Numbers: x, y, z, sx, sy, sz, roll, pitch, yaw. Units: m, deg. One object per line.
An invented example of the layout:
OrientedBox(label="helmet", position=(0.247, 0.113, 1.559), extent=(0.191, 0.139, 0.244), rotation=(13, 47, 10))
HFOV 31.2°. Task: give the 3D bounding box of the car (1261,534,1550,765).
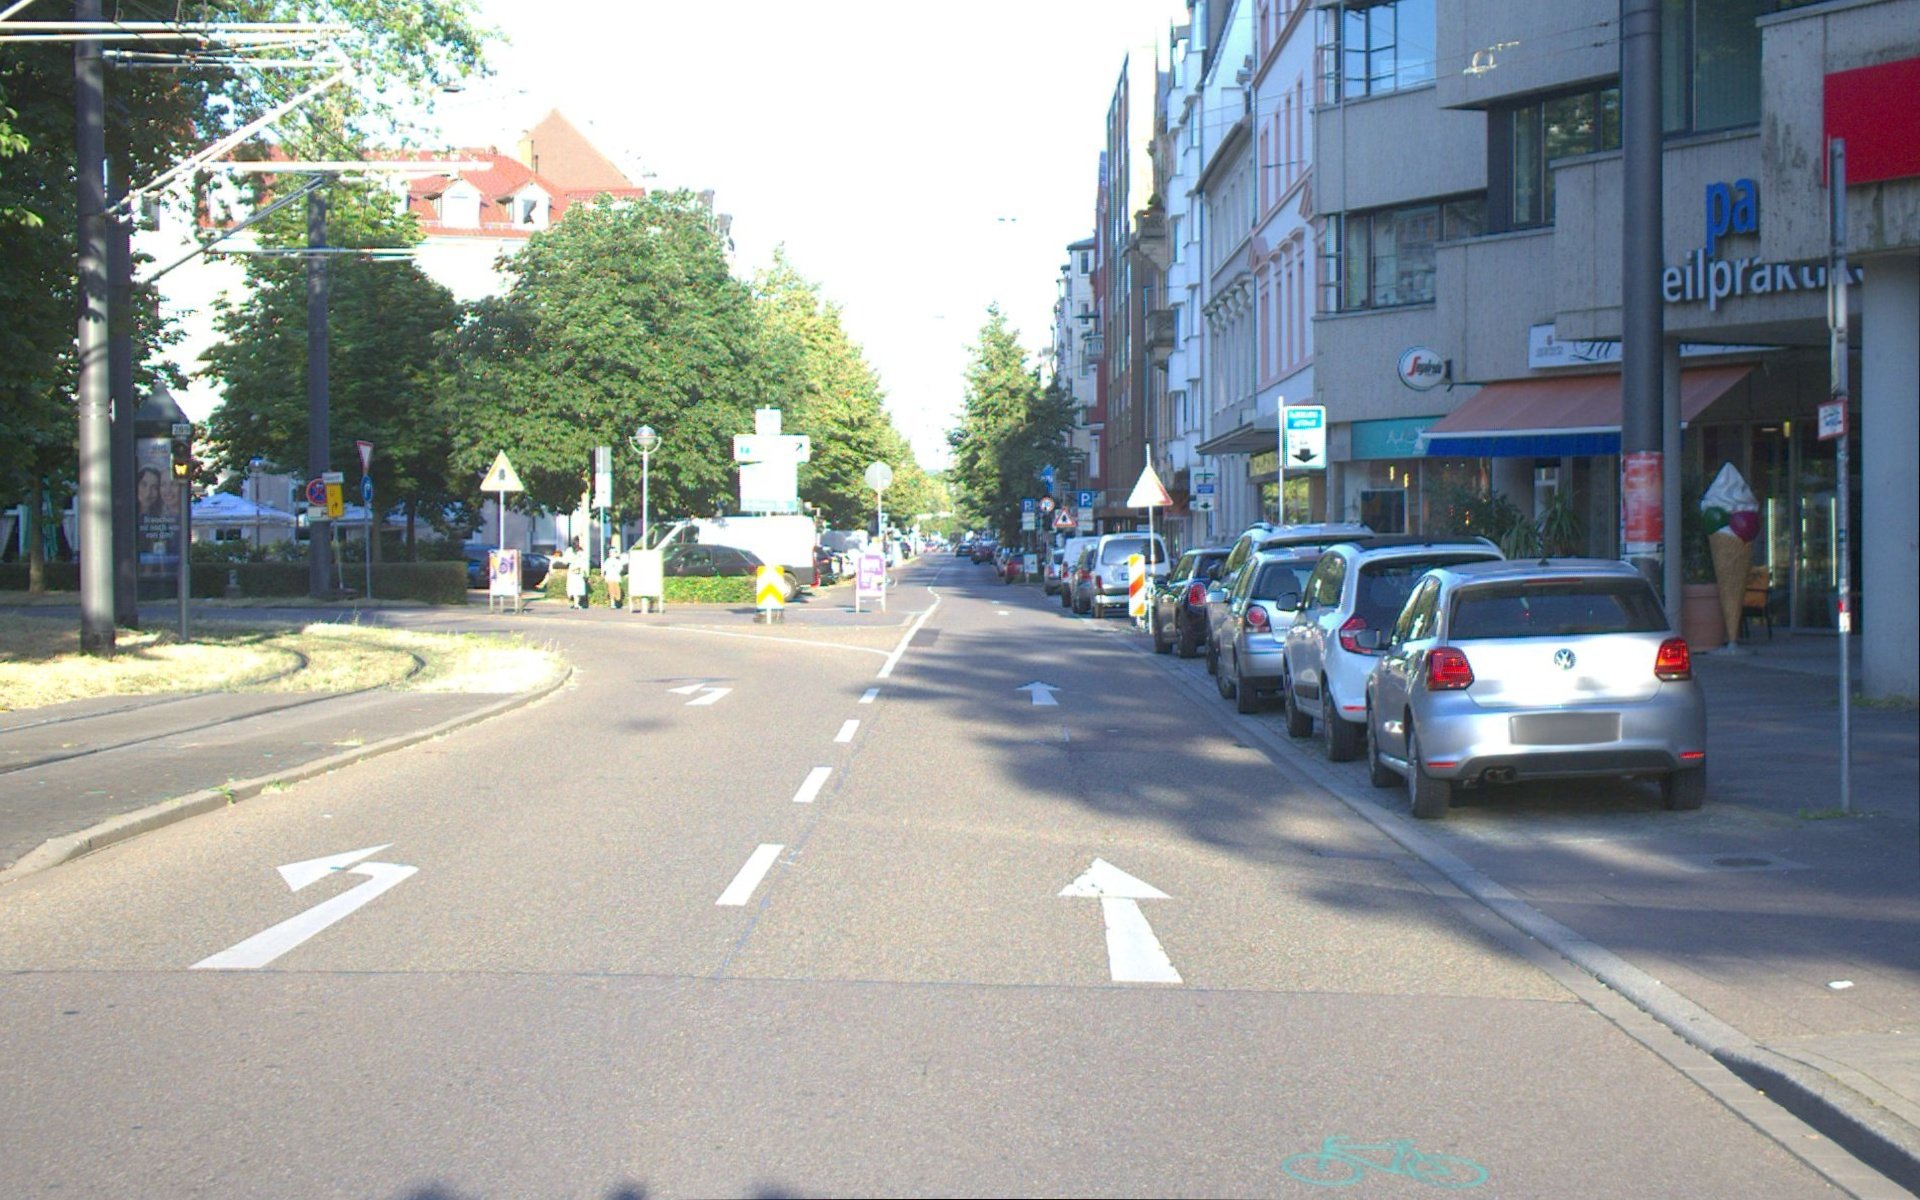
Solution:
OrientedBox(label="car", position=(3.277, 0.314, 25.880), extent=(1.584, 1.585, 3.668), rotation=(1, 1, -1))

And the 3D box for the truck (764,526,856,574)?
OrientedBox(label="truck", position=(-8.190, -2.743, 187.991), extent=(4.941, 2.606, 2.000), rotation=(0, 0, 0))

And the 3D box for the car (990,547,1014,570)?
OrientedBox(label="car", position=(2.403, -2.360, 197.182), extent=(1.206, 1.296, 2.661), rotation=(1, 0, -3))

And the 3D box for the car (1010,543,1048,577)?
OrientedBox(label="car", position=(3.310, -1.897, 165.399), extent=(1.576, 1.537, 3.397), rotation=(-2, 0, -2))

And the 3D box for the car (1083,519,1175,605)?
OrientedBox(label="car", position=(3.604, -0.814, 73.919), extent=(1.792, 1.785, 4.092), rotation=(0, 1, 0))

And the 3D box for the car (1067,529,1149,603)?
OrientedBox(label="car", position=(3.412, -0.801, 79.689), extent=(1.656, 1.659, 4.108), rotation=(1, 1, -1))

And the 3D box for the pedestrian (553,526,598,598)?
OrientedBox(label="pedestrian", position=(-8.384, -0.835, 74.928), extent=(0.697, 1.553, 0.694), rotation=(0, 1, -37))

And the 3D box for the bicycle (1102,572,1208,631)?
OrientedBox(label="bicycle", position=(3.532, 0.027, 62.226), extent=(1.790, 0.986, 0.541), rotation=(-2, 2, 23))

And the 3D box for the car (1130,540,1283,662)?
OrientedBox(label="car", position=(3.204, -0.024, 45.282), extent=(1.790, 1.502, 3.921), rotation=(1, 1, 1))

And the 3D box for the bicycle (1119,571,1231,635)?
OrientedBox(label="bicycle", position=(3.635, 0.050, 58.226), extent=(1.788, 0.986, 0.542), rotation=(-3, 2, 12))

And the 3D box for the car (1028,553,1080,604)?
OrientedBox(label="car", position=(3.368, -0.797, 123.316), extent=(1.696, 1.763, 4.000), rotation=(0, 1, -1))

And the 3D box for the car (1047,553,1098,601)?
OrientedBox(label="car", position=(3.884, -0.798, 118.227), extent=(1.680, 1.556, 4.000), rotation=(-2, 1, 3))

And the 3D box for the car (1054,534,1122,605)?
OrientedBox(label="car", position=(3.416, -0.843, 92.112), extent=(1.710, 1.829, 4.306), rotation=(1, 1, 1))

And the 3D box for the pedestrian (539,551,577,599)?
OrientedBox(label="pedestrian", position=(-10.755, -0.669, 92.001), extent=(0.747, 1.273, 0.661), rotation=(0, 1, -37))

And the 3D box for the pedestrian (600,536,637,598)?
OrientedBox(label="pedestrian", position=(-7.463, -0.723, 75.149), extent=(0.562, 1.359, 0.614), rotation=(0, 1, -37))

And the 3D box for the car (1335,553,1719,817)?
OrientedBox(label="car", position=(3.344, 0.448, 20.952), extent=(1.785, 1.451, 4.000), rotation=(0, 1, 2))

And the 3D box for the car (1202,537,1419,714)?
OrientedBox(label="car", position=(3.215, 0.186, 32.188), extent=(1.641, 1.523, 4.000), rotation=(1, 1, 1))

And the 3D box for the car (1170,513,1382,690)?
OrientedBox(label="car", position=(3.389, -0.028, 37.588), extent=(1.783, 1.798, 4.402), rotation=(1, 1, -1))

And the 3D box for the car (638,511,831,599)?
OrientedBox(label="car", position=(-6.005, -1.187, 91.601), extent=(4.597, 2.243, 2.203), rotation=(1, 0, -26))
